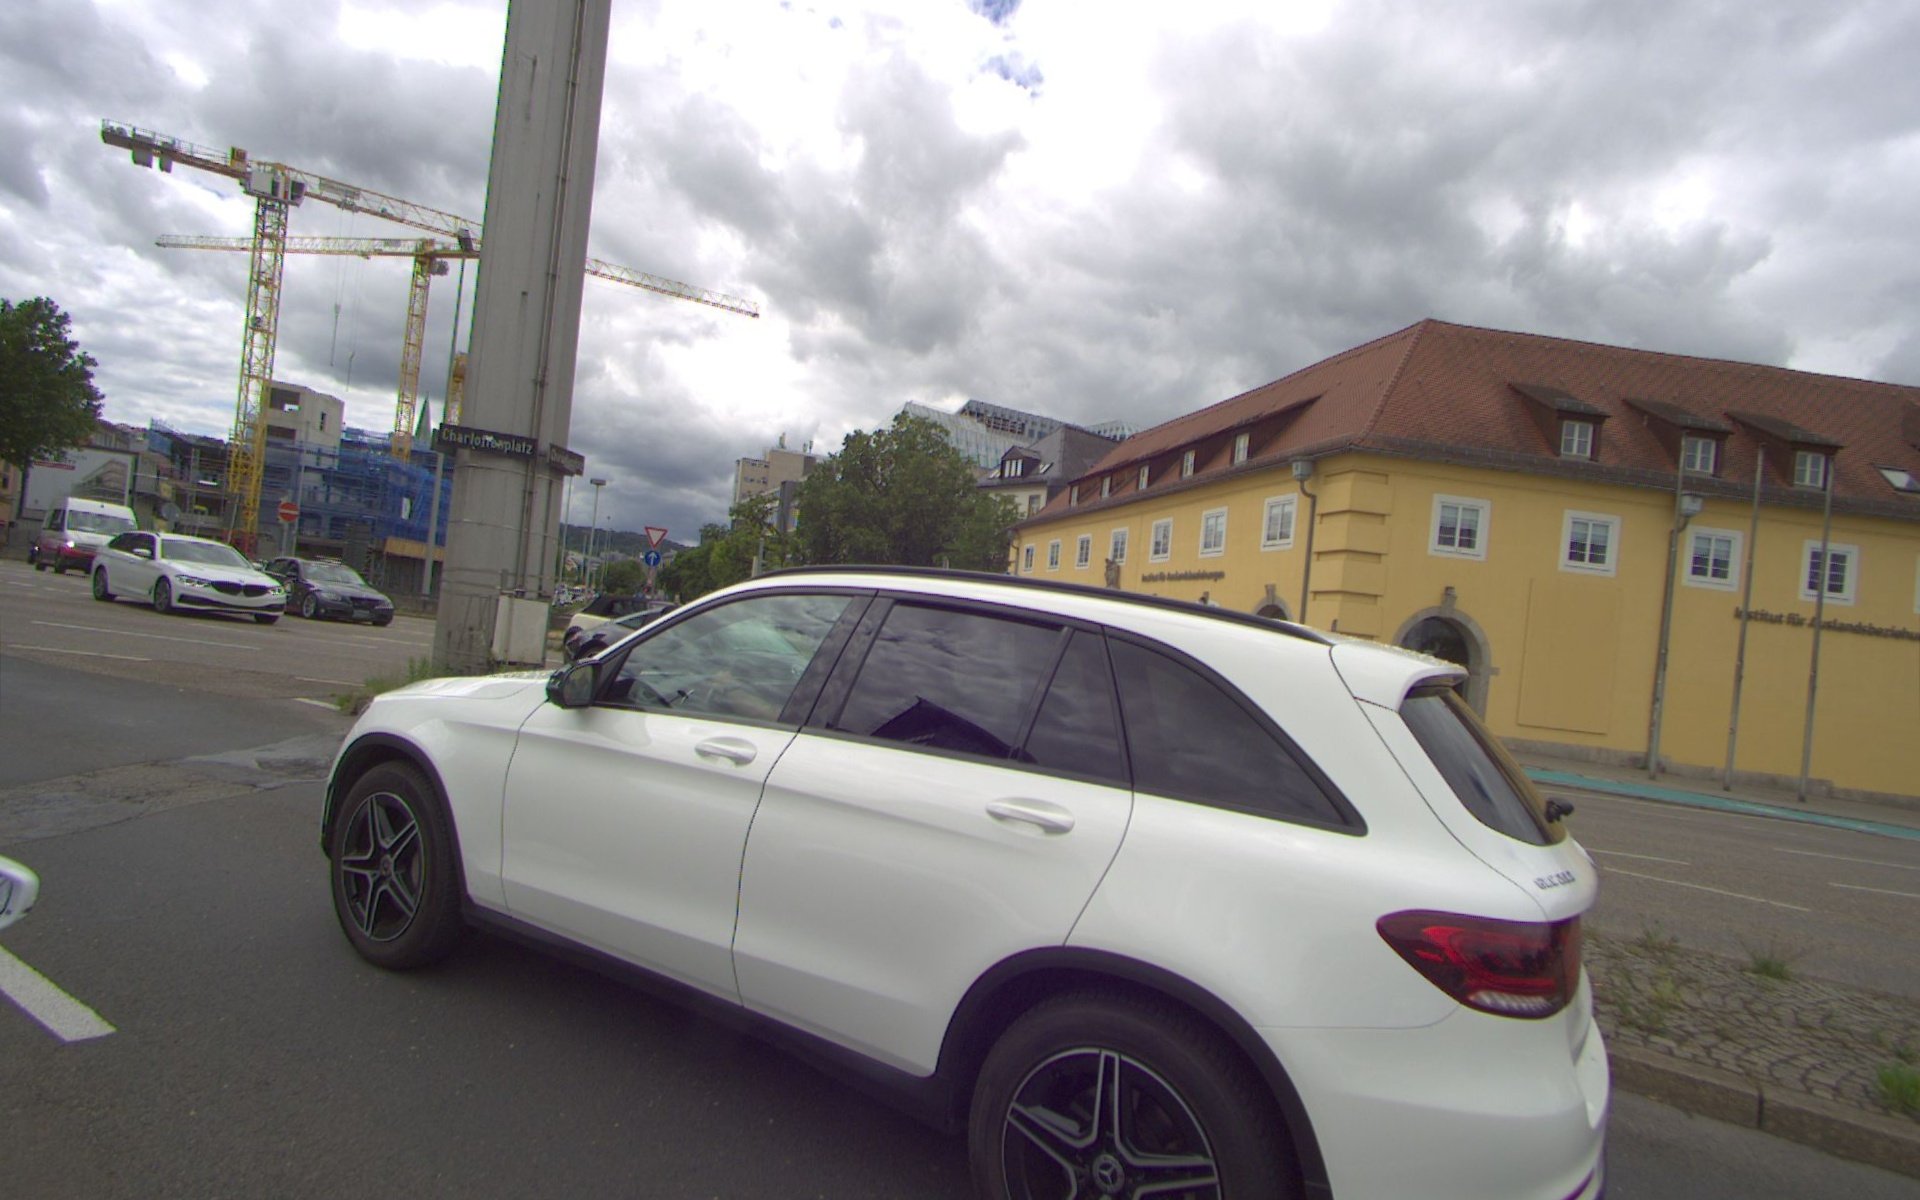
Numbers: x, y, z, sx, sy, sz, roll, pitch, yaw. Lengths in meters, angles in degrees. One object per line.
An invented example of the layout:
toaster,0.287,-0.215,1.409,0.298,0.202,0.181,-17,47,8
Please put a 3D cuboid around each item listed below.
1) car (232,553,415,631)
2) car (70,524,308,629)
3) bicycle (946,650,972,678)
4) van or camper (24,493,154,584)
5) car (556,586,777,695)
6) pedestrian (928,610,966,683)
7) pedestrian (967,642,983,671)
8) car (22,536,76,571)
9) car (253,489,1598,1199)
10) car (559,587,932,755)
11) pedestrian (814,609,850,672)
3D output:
car,-15.282,-0.200,24.125,4.338,1.348,1.758,5,-4,30
car,-15.146,-0.492,19.694,4.958,1.521,1.997,5,-3,32
bicycle,-0.036,2.888,45.604,0.612,1.098,1.768,7,-2,-15
van or camper,-29.102,-2.095,33.528,6.074,2.505,2.140,5,-3,40
car,-5.343,0.731,18.248,3.586,1.434,1.728,7,-2,30
pedestrian,-0.365,1.295,27.950,0.553,1.918,0.632,7,1,-36
pedestrian,0.836,3.135,55.948,0.617,1.467,0.722,7,-1,-10
car,-46.277,-2.374,51.096,1.827,1.483,3.953,8,-3,-43
car,-0.382,0.691,3.587,4.261,1.666,1.805,7,-1,31
car,-2.524,0.775,11.618,3.988,1.279,1.675,7,-2,30
pedestrian,-3.911,1.231,30.750,0.741,1.810,0.825,7,-1,-18
